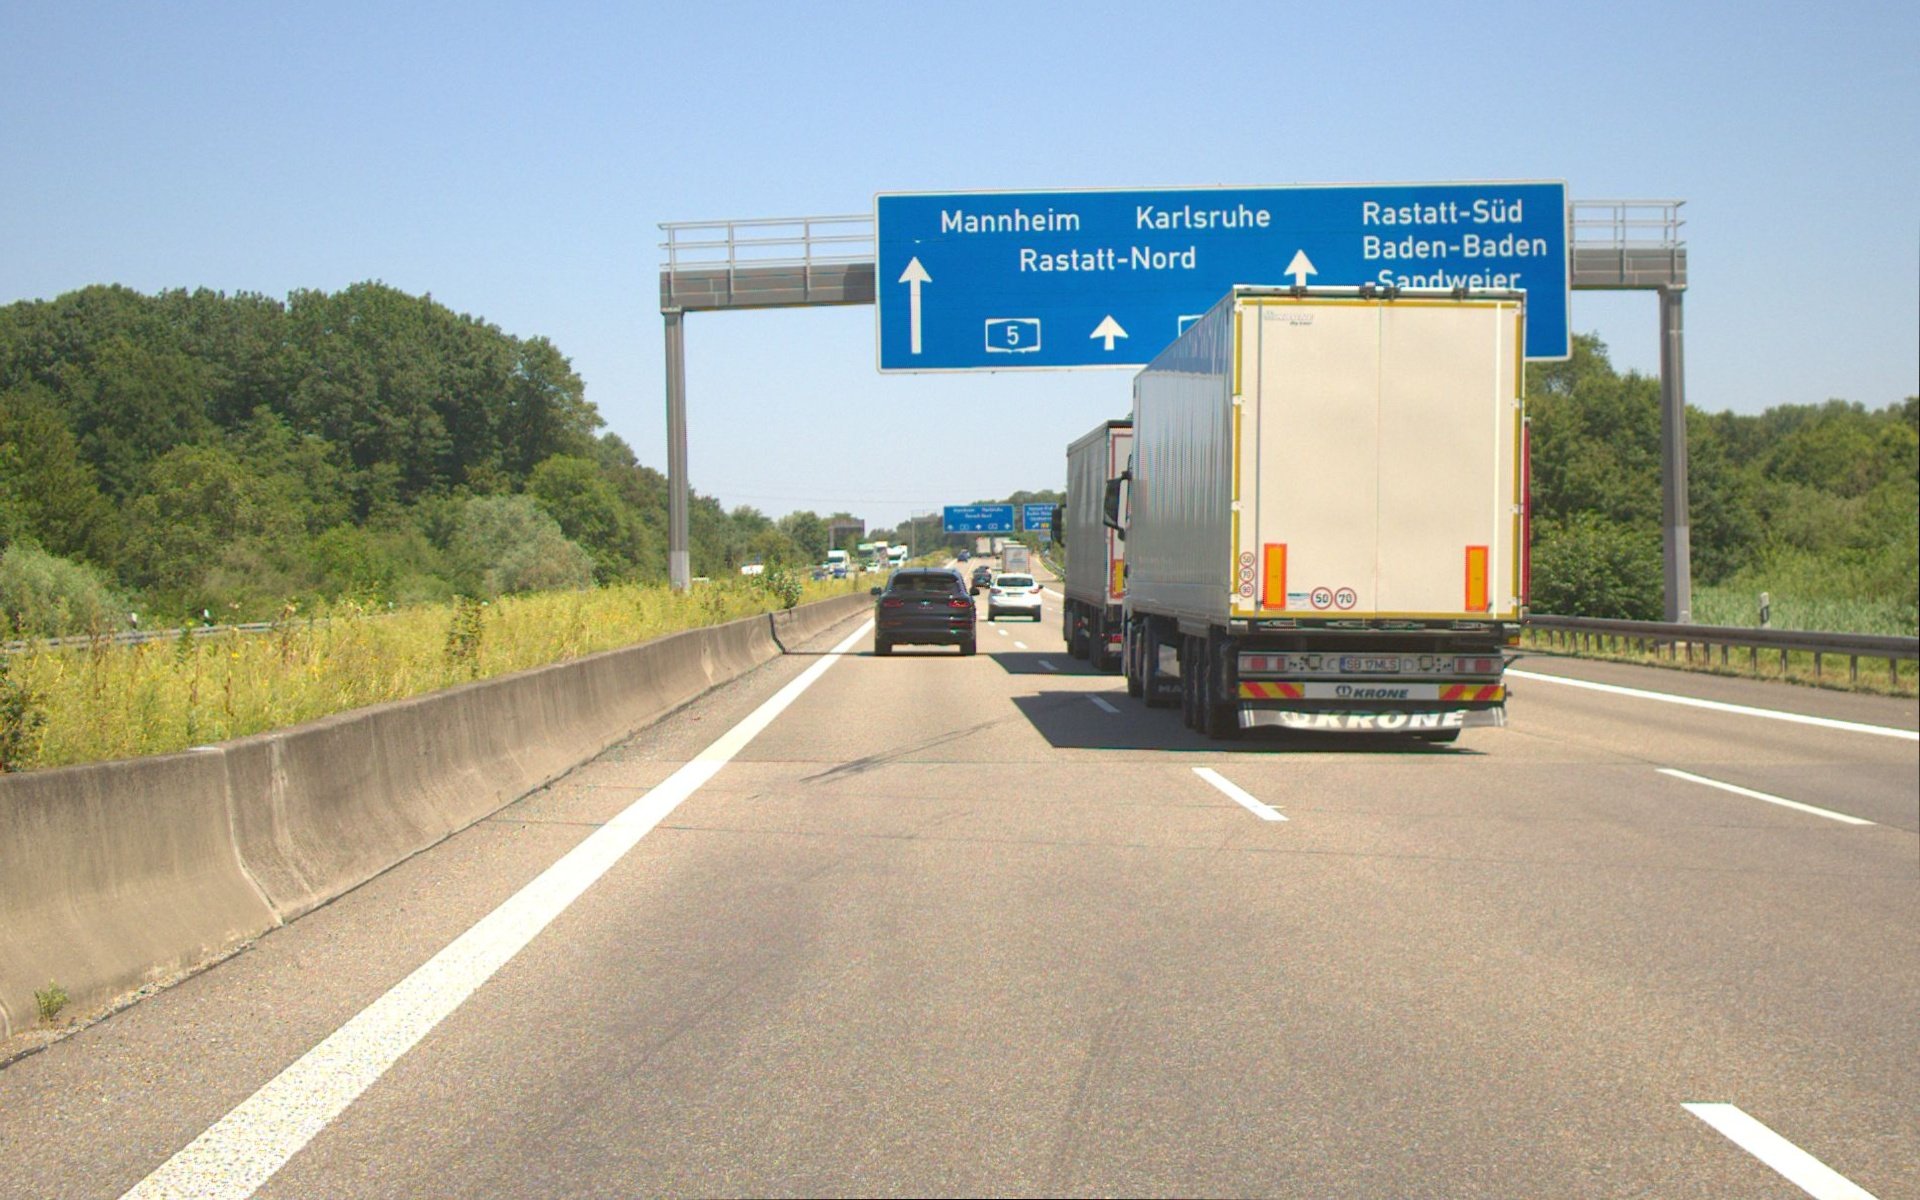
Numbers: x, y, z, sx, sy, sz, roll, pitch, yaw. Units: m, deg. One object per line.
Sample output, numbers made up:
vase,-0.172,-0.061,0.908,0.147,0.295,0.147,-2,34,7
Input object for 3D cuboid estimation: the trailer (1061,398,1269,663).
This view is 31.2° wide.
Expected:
trailer,3.385,-1.068,60.390,2.707,4.054,14.746,1,0,0

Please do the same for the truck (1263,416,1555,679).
truck,7.660,-0.864,60.778,3.055,4.092,13.219,1,0,-1

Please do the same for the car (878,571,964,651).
car,-0.791,0.203,68.168,1.660,1.544,3.783,0,0,-1

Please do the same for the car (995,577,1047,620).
car,2.108,-0.062,119.516,1.740,1.481,4.000,0,0,0

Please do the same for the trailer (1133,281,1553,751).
trailer,3.610,-0.769,35.828,2.794,4.022,12.568,0,0,-1

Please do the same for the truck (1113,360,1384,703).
truck,3.508,-0.821,43.217,2.799,3.993,6.021,0,0,-1
